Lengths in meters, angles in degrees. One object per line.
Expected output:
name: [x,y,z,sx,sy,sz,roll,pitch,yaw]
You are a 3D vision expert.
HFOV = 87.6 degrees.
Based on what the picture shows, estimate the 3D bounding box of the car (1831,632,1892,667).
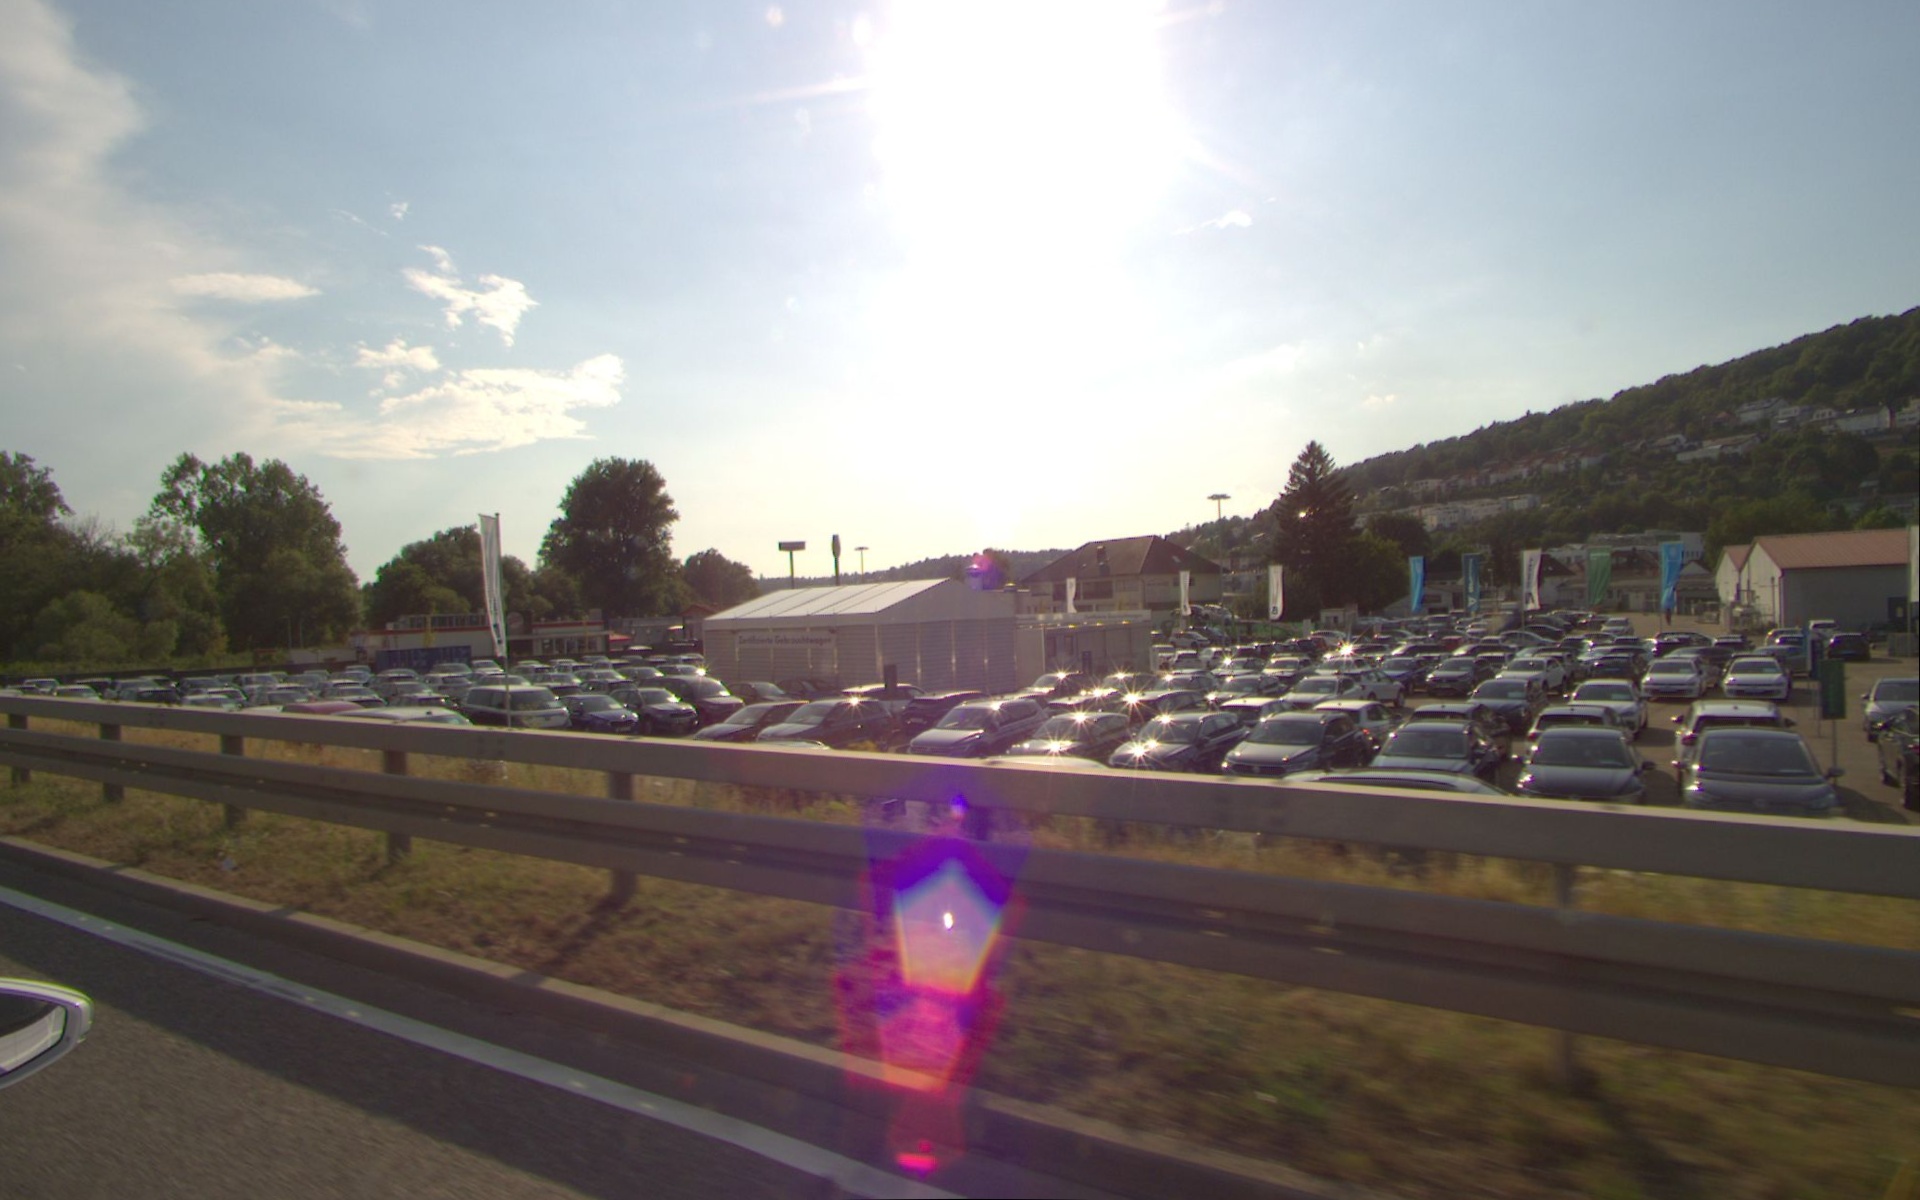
car: [48.305,2.626,53.621,3.957,1.739,1.983,1,-1,-41]

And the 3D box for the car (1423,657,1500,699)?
car: [21.199,3.244,42.230,1.782,1.563,4.308,-3,-3,42]

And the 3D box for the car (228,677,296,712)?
car: [-36.580,4.921,52.429,3.949,1.705,1.769,-3,-2,36]

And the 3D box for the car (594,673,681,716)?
car: [-14.324,4.147,44.420,3.951,1.705,1.768,-3,-3,38]

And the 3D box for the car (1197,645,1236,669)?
car: [16.393,3.643,64.263,1.770,1.474,4.002,-1,-2,5]

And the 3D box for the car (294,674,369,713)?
car: [-29.617,4.367,47.146,3.951,1.705,1.768,-3,-3,38]

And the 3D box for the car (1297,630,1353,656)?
car: [30.659,3.613,84.126,1.981,2.039,3.962,1,-3,-44]

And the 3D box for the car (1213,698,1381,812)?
car: [6.840,2.973,20.048,1.779,1.735,4.401,-3,-3,39]

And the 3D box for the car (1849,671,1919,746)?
car: [23.526,2.642,24.934,1.779,1.563,4.401,-3,-3,39]

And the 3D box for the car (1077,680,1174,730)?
car: [6.349,3.948,38.165,1.763,1.584,3.966,-3,-3,42]

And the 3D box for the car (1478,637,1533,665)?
car: [36.550,3.409,67.032,3.957,1.739,1.983,1,-1,-41]

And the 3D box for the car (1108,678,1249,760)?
car: [5.892,3.121,26.657,1.781,1.724,4.400,-7,-4,38]

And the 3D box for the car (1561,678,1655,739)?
car: [18.246,2.969,28.114,1.779,1.386,4.401,-3,-3,39]

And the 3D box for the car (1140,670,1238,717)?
car: [8.537,3.422,37.152,1.762,1.474,3.965,-3,-3,43]

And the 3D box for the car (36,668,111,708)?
car: [-41.132,4.041,46.459,3.948,1.705,1.770,-3,-2,35]

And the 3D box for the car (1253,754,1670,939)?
car: [6.125,2.898,12.529,4.372,1.563,1.791,-3,-2,33]

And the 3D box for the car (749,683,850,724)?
car: [-6.613,4.226,41.149,3.950,1.482,1.947,-3,-3,37]

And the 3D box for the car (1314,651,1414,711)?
car: [15.154,2.983,37.472,3.960,2.039,1.982,1,-3,-43]

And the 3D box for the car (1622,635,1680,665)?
car: [41.826,2.992,60.587,3.957,1.739,1.983,1,-1,-41]

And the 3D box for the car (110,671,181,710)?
car: [-39.283,4.333,48.279,3.949,1.705,1.769,-3,-2,36]

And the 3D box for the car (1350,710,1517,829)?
car: [8.777,2.973,18.366,1.779,1.563,4.401,-3,-3,39]

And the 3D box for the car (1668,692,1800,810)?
car: [14.878,2.774,19.259,1.779,1.735,4.401,-3,-3,39]

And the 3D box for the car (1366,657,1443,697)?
car: [19.514,3.324,43.851,1.782,1.563,4.308,-3,-3,42]

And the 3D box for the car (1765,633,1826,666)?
car: [46.462,2.730,55.656,3.957,1.739,1.983,1,-1,-41]

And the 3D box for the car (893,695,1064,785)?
car: [0.546,3.296,24.293,1.820,1.688,4.401,-3,-3,39]

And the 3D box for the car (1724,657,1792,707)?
car: [28.655,2.887,35.970,1.779,1.563,4.314,-3,-3,39]

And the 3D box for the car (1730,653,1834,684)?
car: [37.283,3.085,45.437,3.927,1.304,1.620,-1,-2,-15]

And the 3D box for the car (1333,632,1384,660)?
car: [29.924,3.414,75.152,3.957,2.040,1.983,1,-1,-41]

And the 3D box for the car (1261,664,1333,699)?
car: [15.936,3.812,47.279,1.694,1.482,3.964,-3,-3,44]

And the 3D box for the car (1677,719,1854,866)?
car: [12.048,2.762,15.221,1.764,1.563,3.963,-2,-3,35]

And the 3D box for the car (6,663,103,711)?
car: [-34.971,3.312,38.649,3.944,1.705,1.772,-3,-2,32]

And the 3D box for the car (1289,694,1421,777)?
car: [9.750,3.217,24.513,1.779,1.563,4.401,-3,-3,39]

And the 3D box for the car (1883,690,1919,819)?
car: [17.178,2.569,17.052,1.779,1.736,4.400,-3,-2,39]

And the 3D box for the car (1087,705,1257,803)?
car: [4.643,3.185,21.458,1.779,1.563,4.401,-3,-3,39]

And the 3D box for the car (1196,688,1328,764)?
car: [7.972,3.204,26.211,1.779,1.563,4.401,-3,-3,39]

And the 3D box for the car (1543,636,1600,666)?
car: [38.570,3.182,63.165,3.957,1.739,1.983,1,-1,-41]

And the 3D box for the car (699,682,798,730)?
car: [-8.486,4.190,40.032,3.951,1.705,1.768,-3,-3,38]

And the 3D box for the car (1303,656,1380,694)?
car: [17.509,3.386,45.851,1.782,1.563,4.308,-3,-3,42]

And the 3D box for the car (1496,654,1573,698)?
car: [23.121,3.020,40.236,1.782,1.563,4.308,-3,-3,42]

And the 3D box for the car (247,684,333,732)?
car: [-27.261,4.344,40.713,3.951,1.705,1.768,-3,-3,38]

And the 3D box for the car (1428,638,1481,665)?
car: [34.390,3.553,69.609,3.957,1.739,1.983,1,-1,-41]

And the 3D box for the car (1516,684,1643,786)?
car: [13.464,2.809,21.651,1.779,1.735,4.401,-3,-3,39]

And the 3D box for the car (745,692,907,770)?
car: [-3.557,3.468,27.264,1.779,1.628,4.401,-1,-1,39]

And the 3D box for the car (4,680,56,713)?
car: [-52.258,5.366,56.262,4.201,1.662,1.942,-3,-3,44]

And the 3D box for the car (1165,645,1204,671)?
car: [13.729,3.558,61.476,1.770,1.474,4.002,-1,-2,5]

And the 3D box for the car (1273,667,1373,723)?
car: [12.072,3.088,33.120,1.779,1.563,4.401,-3,-3,39]
